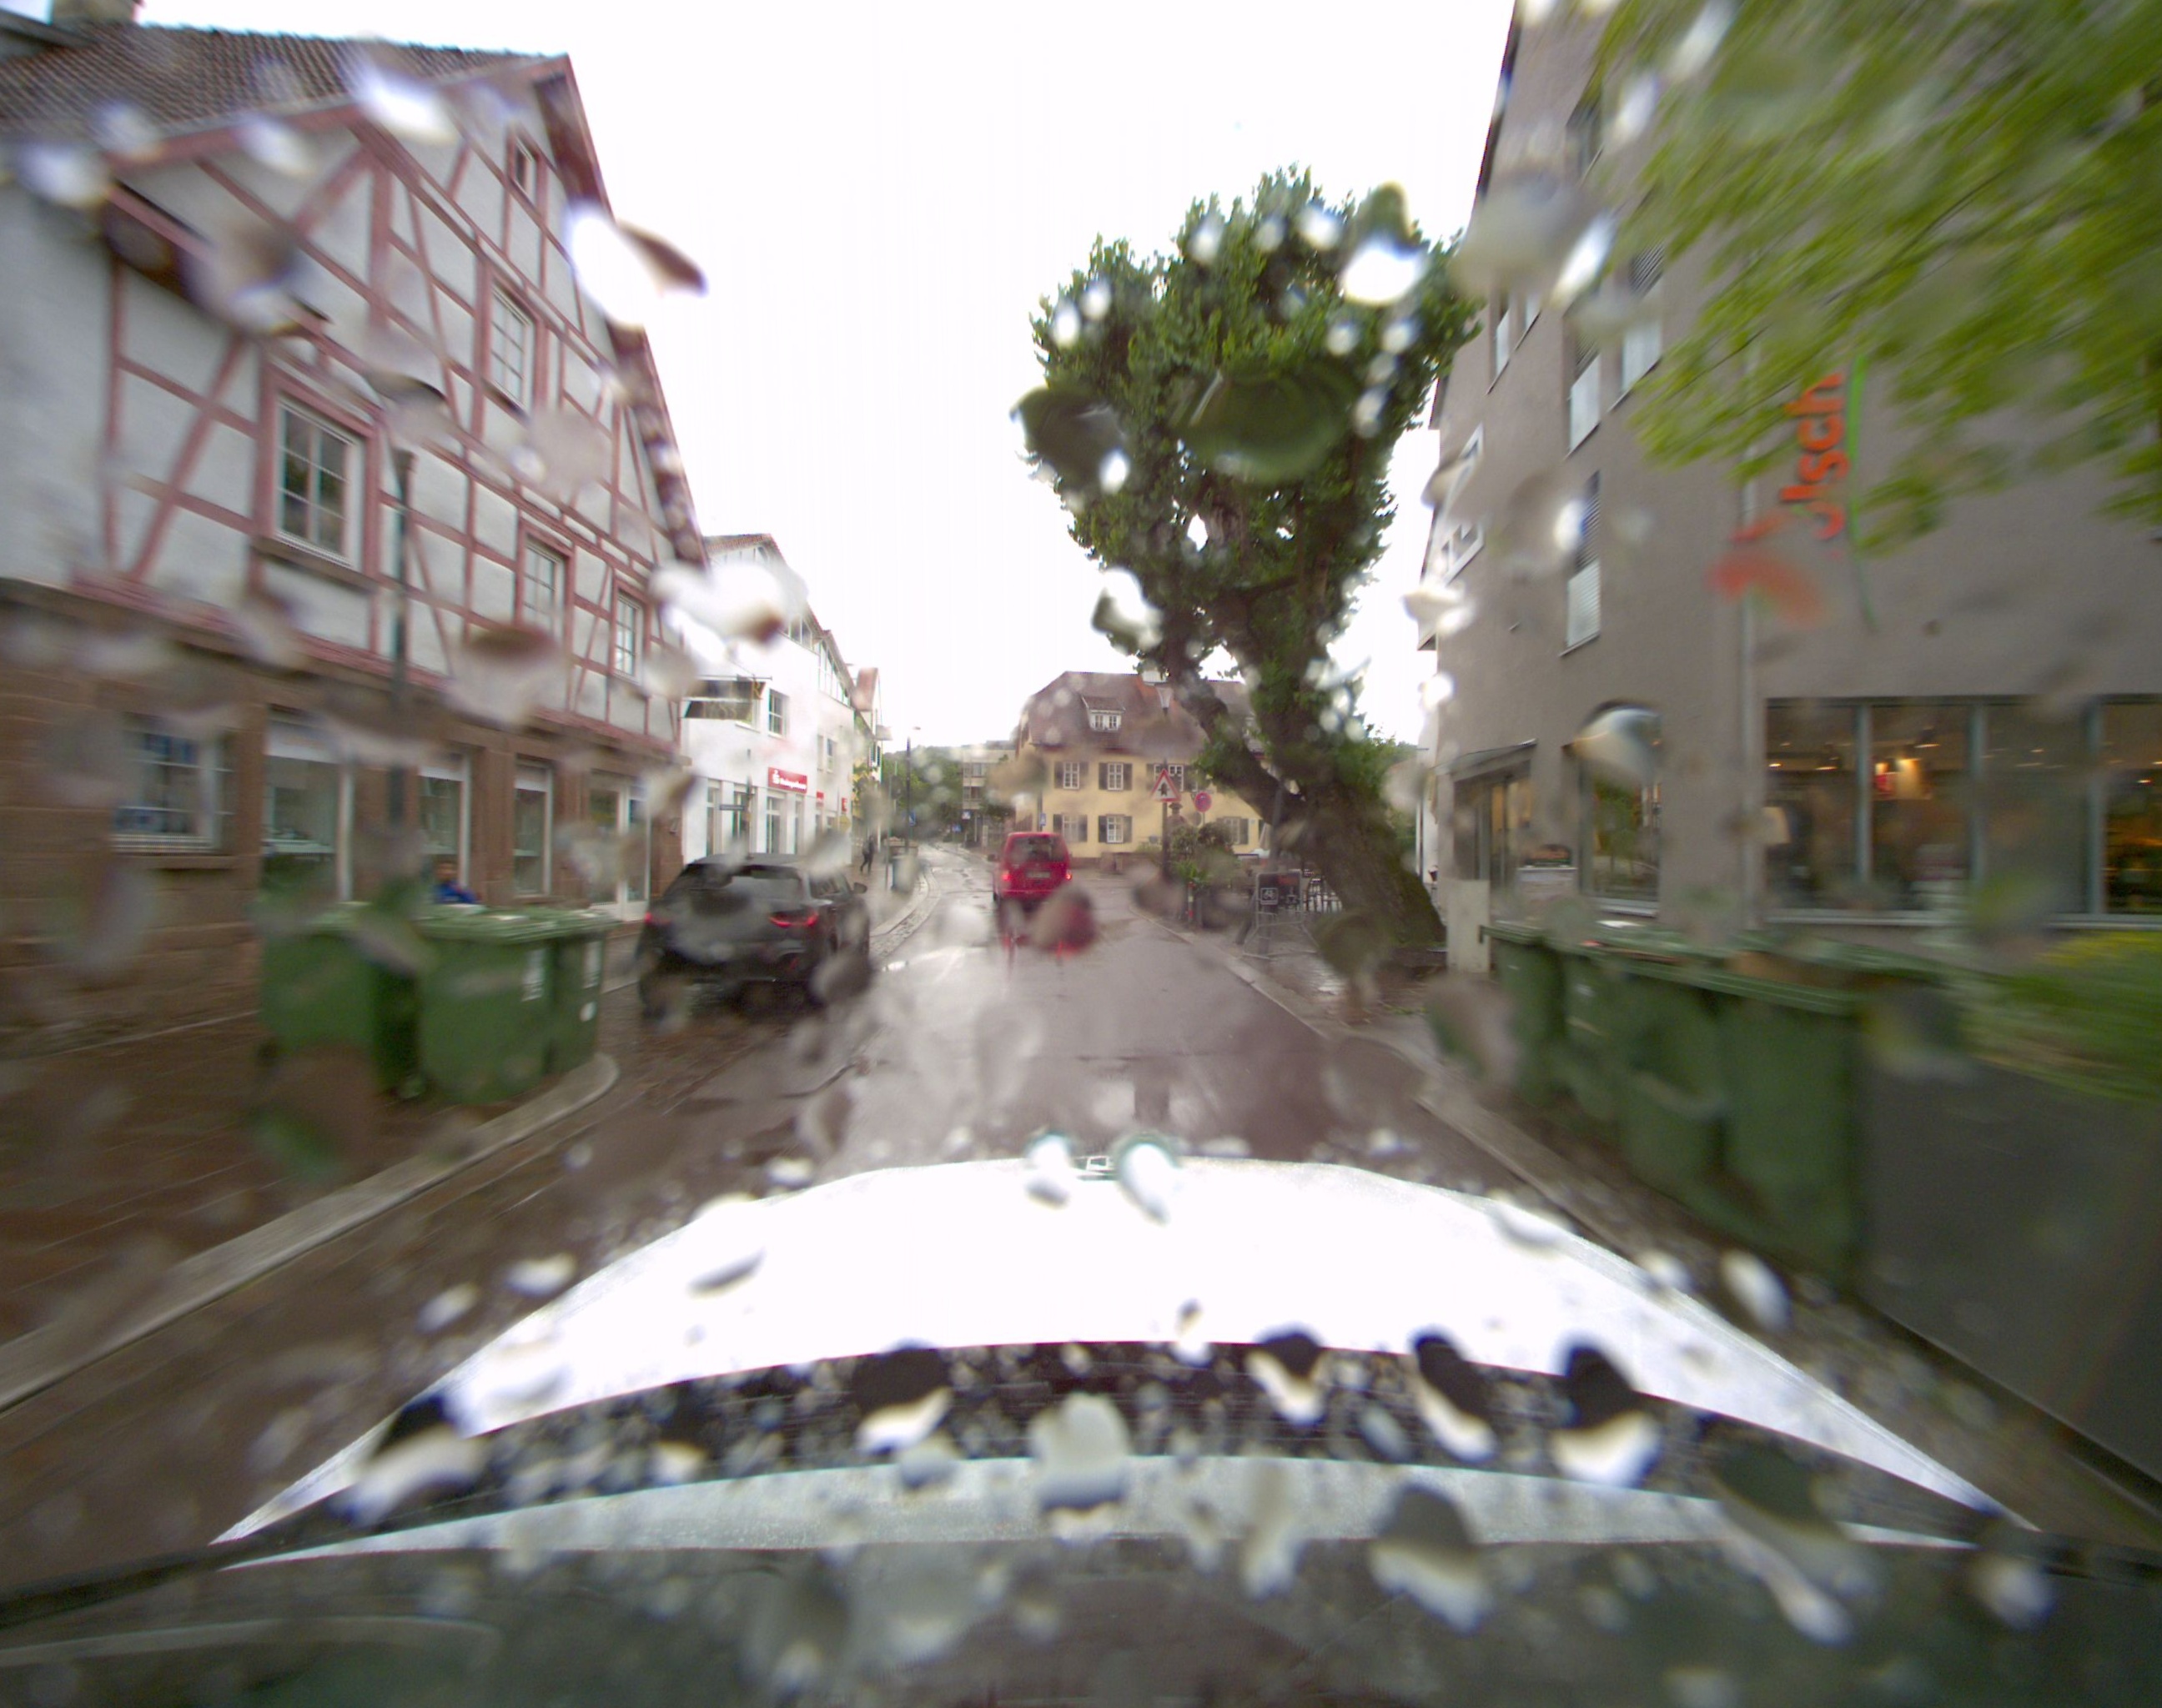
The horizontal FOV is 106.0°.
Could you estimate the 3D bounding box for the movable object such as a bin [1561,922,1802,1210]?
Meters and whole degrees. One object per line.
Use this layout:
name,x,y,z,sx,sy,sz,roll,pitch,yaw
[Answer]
movable object such as a bin,2.594,0.878,3.570,0.629,1.104,0.579,1,-1,-1

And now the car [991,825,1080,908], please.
car,-1.236,0.238,20.361,1.893,1.811,3.990,2,1,-8

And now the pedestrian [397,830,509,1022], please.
pedestrian,-5.841,0.653,7.597,0.517,1.711,0.578,1,-1,-1

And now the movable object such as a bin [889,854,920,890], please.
movable object such as a bin,-5.509,0.559,25.435,0.792,1.106,0.721,1,-1,-4

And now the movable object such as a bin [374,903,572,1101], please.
movable object such as a bin,-3.728,0.880,5.044,0.723,1.110,0.596,1,-1,-1

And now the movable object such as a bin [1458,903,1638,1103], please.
movable object such as a bin,2.779,0.857,4.908,0.718,1.073,0.649,1,-1,2

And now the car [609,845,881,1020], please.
car,-3.446,0.664,9.209,1.786,1.495,3.991,-1,1,-7

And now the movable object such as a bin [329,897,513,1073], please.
movable object such as a bin,-4.500,0.871,5.600,0.723,1.110,0.596,1,-1,-1

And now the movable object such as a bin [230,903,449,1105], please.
movable object such as a bin,-4.472,0.877,4.958,0.723,1.110,0.596,1,-1,-1

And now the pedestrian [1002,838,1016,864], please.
pedestrian,-5.200,-0.235,58.691,0.759,1.842,0.903,1,-1,9

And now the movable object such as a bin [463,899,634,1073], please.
movable object such as a bin,-3.683,0.887,5.688,0.723,1.110,0.644,1,-1,-1

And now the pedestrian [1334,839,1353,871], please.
pedestrian,15.621,0.068,48.435,0.894,1.842,0.767,1,-1,5

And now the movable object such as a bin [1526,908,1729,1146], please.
movable object such as a bin,2.803,0.852,4.233,0.674,1.103,0.580,1,-1,2

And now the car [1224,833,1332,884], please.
car,7.563,0.207,31.147,4.019,1.799,1.977,2,-2,-39

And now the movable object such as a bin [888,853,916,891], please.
movable object such as a bin,-5.430,0.547,24.739,0.713,1.106,0.599,1,-1,-4

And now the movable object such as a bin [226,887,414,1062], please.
movable object such as a bin,-5.216,0.798,5.622,0.658,1.110,0.615,1,-1,-1

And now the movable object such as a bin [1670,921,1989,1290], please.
movable object such as a bin,2.655,0.843,2.949,0.629,1.150,0.579,1,-1,-1

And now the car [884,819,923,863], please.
car,-11.871,-0.776,54.319,2.302,2.602,6.927,2,-1,-13

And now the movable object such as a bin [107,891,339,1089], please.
movable object such as a bin,-5.217,0.799,4.994,0.723,1.110,0.596,1,-1,-1
